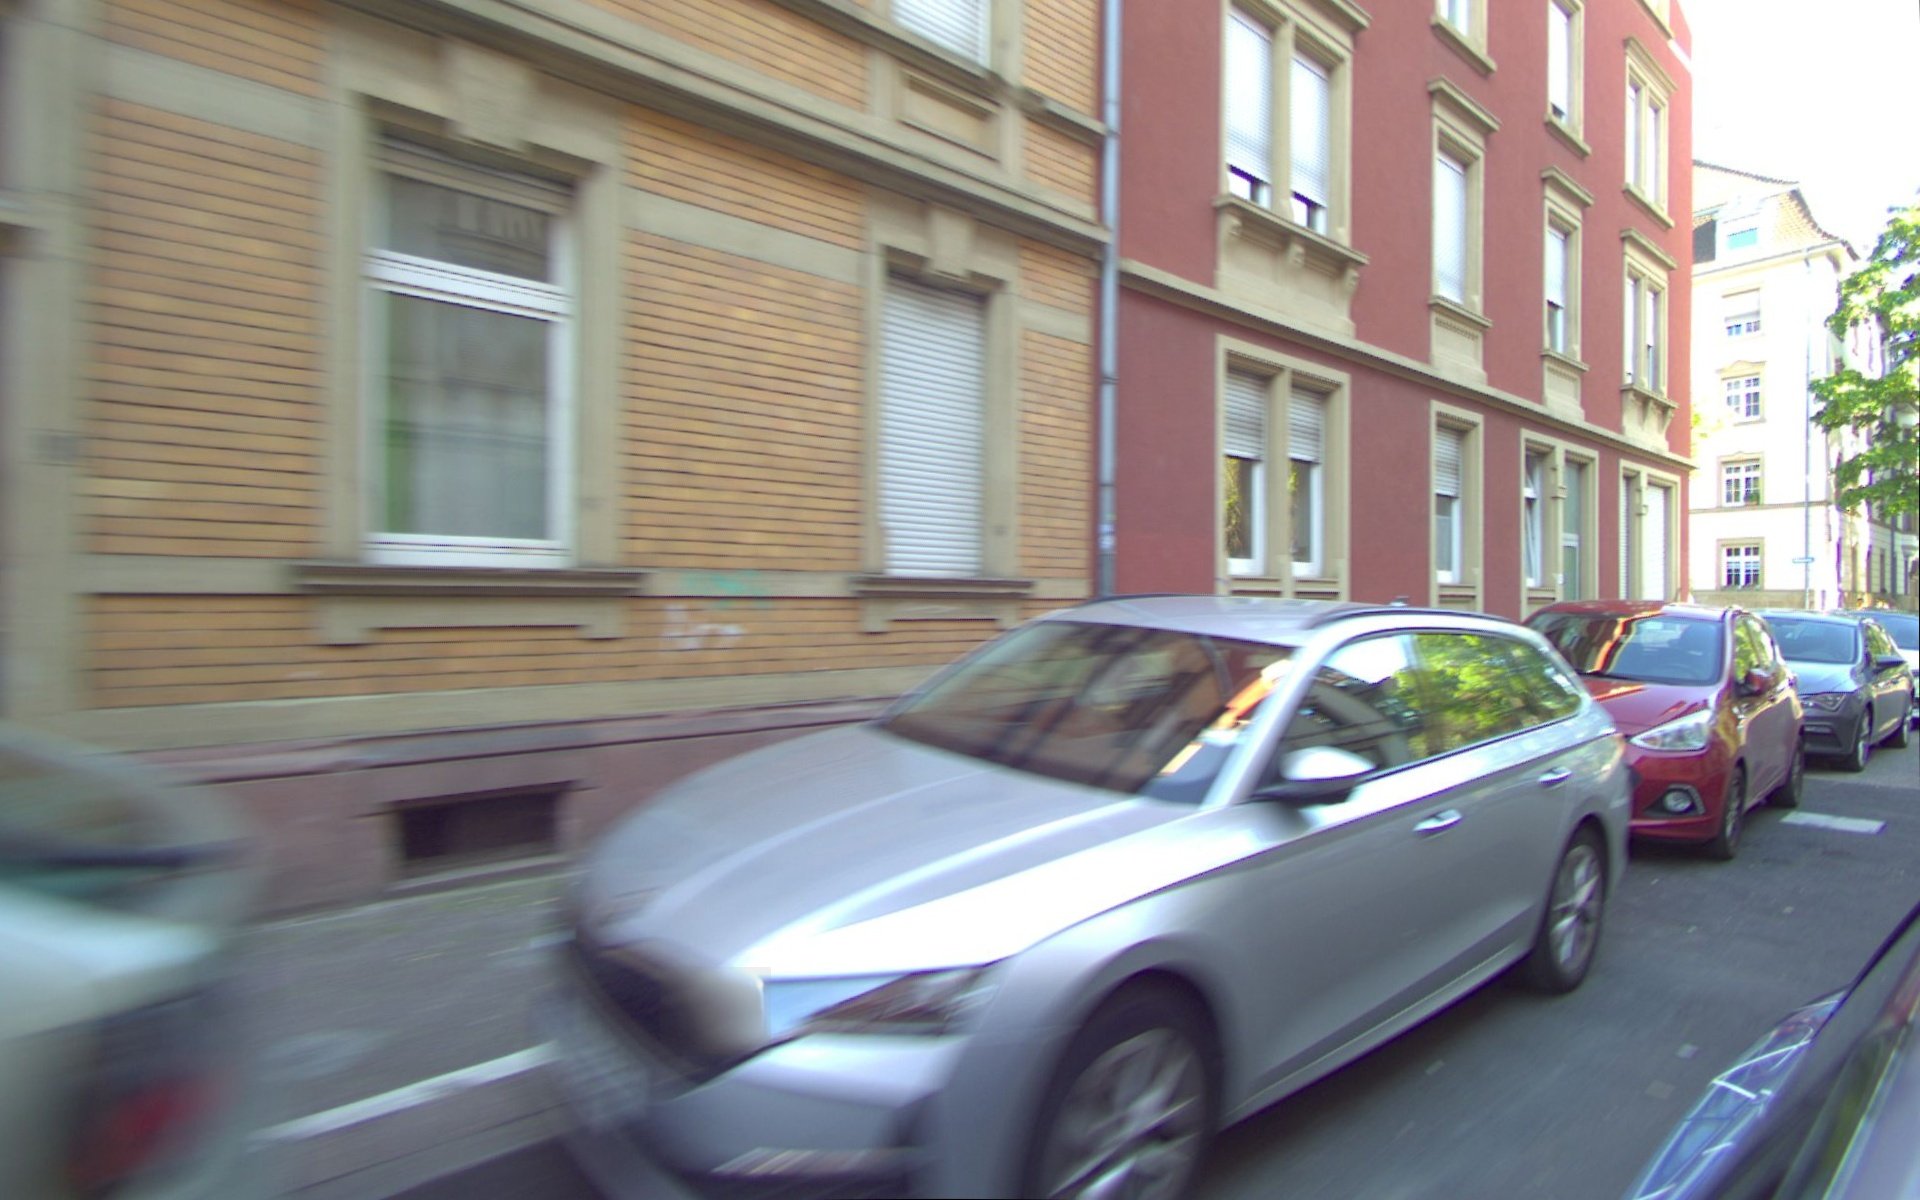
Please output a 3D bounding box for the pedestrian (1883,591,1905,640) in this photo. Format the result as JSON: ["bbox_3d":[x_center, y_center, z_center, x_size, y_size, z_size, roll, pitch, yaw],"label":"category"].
[{"bbox_3d":[33.292,0.537,36.064,0.508,1.740,0.519,0,0,-42],"label":"pedestrian"}]

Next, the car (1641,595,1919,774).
[{"bbox_3d":[8.724,0.724,10.547,3.996,1.522,1.680,0,0,-40],"label":"car"}]

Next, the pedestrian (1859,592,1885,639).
[{"bbox_3d":[33.078,0.553,36.696,0.804,1.706,0.624,0,0,-41],"label":"pedestrian"}]

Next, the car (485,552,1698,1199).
[{"bbox_3d":[0.887,0.676,3.543,4.323,1.502,1.766,0,0,-40],"label":"car"}]

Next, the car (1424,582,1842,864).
[{"bbox_3d":[5.036,0.648,7.346,3.956,1.498,1.661,0,0,-43],"label":"car"}]

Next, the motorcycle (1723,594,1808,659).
[{"bbox_3d":[20.255,0.660,25.429,2.571,1.544,0.875,1,0,-32],"label":"motorcycle"}]

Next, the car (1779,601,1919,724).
[{"bbox_3d":[12.852,0.764,13.996,3.900,1.481,1.708,0,0,-41],"label":"car"}]

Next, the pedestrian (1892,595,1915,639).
[{"bbox_3d":[40.181,0.706,43.106,0.704,1.868,0.827,0,0,44],"label":"pedestrian"}]

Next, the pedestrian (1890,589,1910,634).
[{"bbox_3d":[39.545,0.483,42.587,0.694,1.868,0.529,0,0,-39],"label":"pedestrian"}]

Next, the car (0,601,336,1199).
[{"bbox_3d":[-2.772,0.719,0.578,3.921,1.424,1.695,0,0,-40],"label":"car"}]

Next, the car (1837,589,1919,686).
[{"bbox_3d":[16.201,0.582,17.083,3.642,1.502,1.671,0,0,-42],"label":"car"}]

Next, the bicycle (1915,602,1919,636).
[{"bbox_3d":[33.949,0.702,34.612,0.424,1.176,1.802,1,1,-24],"label":"bicycle"}]

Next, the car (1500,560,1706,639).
[{"bbox_3d":[22.255,-0.059,35.325,2.260,2.499,5.670,0,1,-31],"label":"car"}]

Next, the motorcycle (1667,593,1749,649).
[{"bbox_3d":[19.555,0.520,26.437,2.493,1.422,0.872,0,0,-32],"label":"motorcycle"}]
